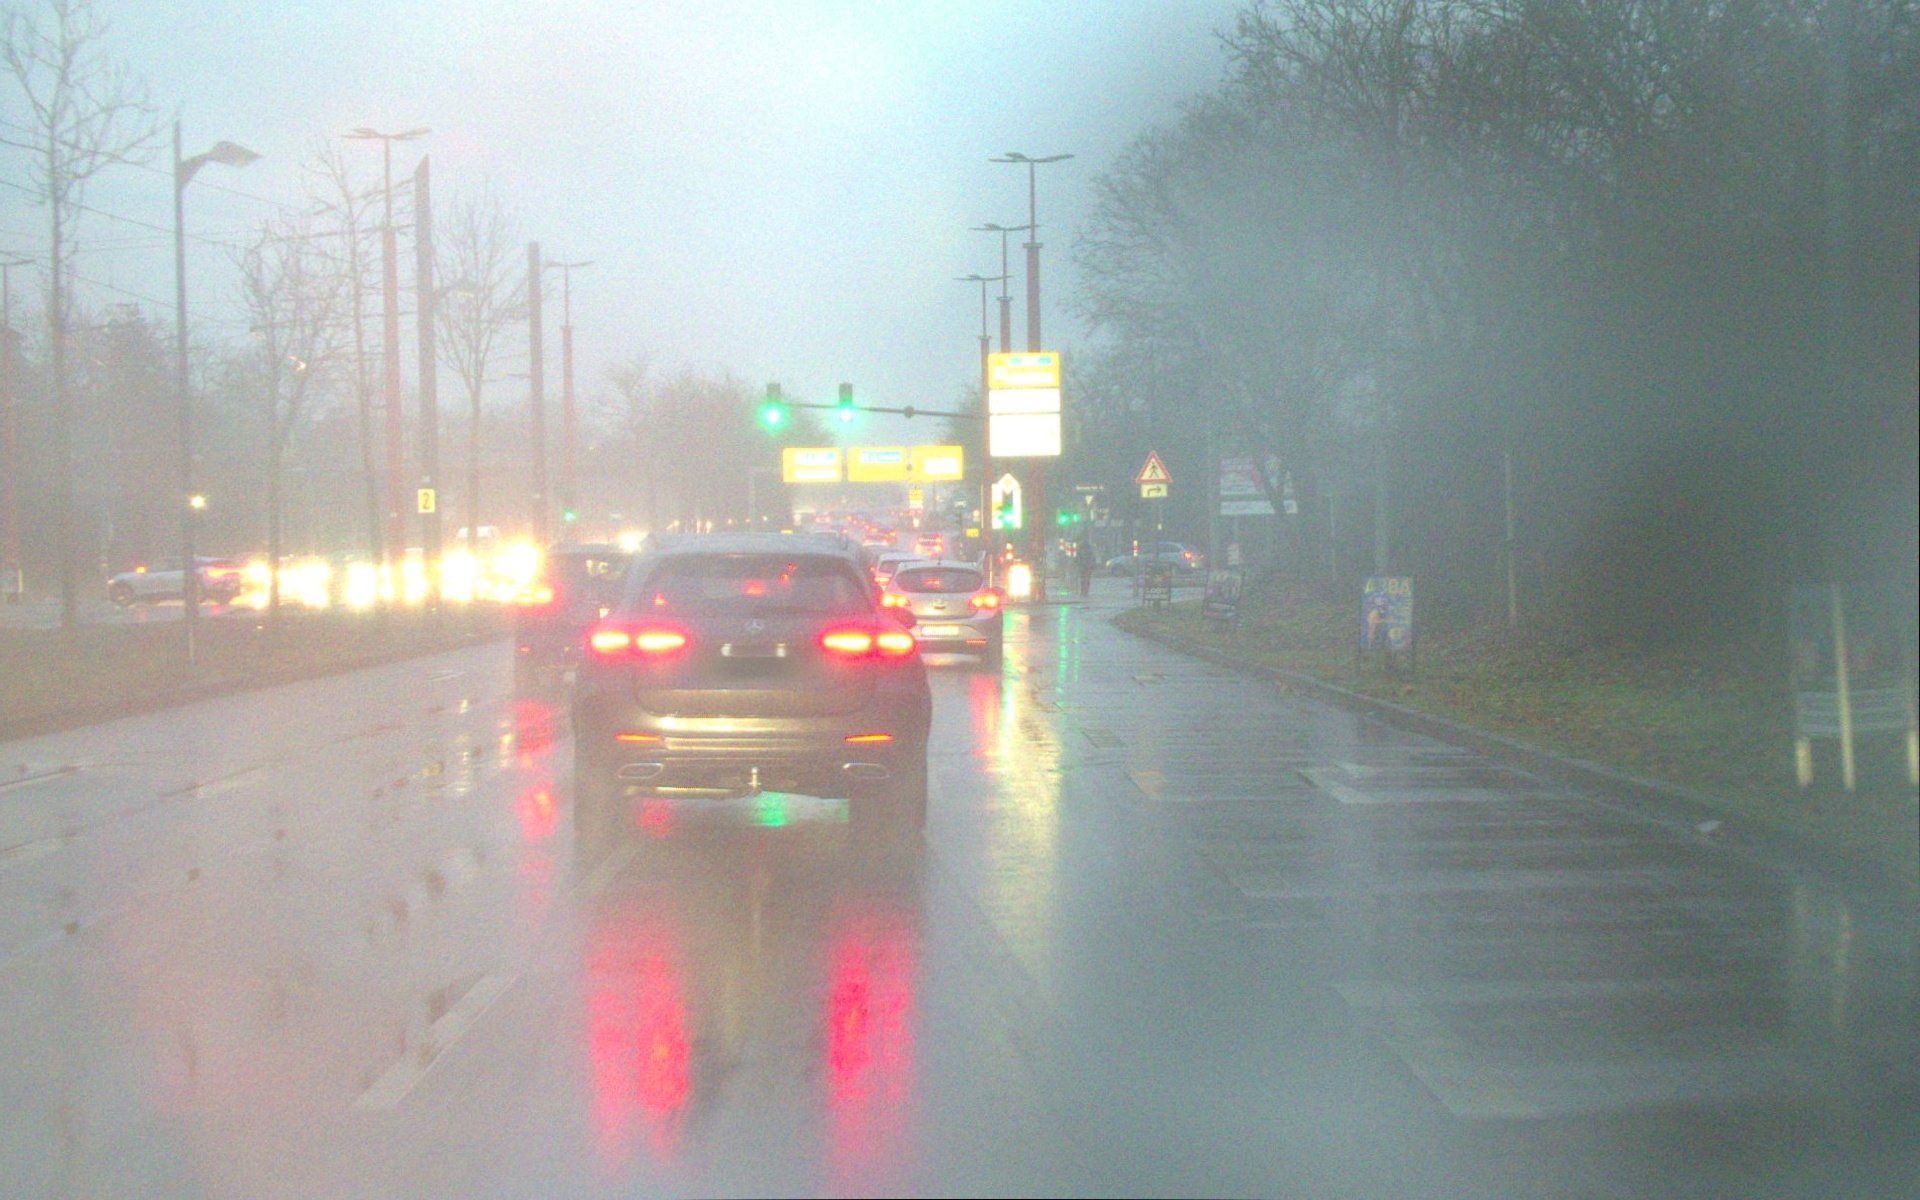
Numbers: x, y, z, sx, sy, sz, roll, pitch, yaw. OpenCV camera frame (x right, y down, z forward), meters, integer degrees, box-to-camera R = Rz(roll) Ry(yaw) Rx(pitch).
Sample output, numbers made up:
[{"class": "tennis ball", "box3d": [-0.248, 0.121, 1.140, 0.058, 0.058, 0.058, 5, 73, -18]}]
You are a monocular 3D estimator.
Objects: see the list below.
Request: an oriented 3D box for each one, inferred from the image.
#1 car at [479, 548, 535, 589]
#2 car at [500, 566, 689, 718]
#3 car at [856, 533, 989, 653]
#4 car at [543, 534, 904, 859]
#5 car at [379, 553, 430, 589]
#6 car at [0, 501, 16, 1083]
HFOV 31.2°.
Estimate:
[{"class": "car", "box3d": [-18.069, -1.259, 137.283, 1.856, 1.576, 4.080, 0, 1, -3]}, {"class": "car", "box3d": [-4.173, 0.440, 39.784, 1.822, 1.642, 4.000, 0, 1, -1]}, {"class": "car", "box3d": [-0.551, -0.122, 49.506, 1.822, 1.642, 4.467, 0, 1, -1]}, {"class": "car", "box3d": [-1.235, 0.461, 19.692, 1.822, 1.642, 4.467, 0, 1, -1]}, {"class": "car", "box3d": [-22.451, -1.175, 138.976, 1.652, 1.415, 3.327, 0, 1, -2]}, {"class": "car", "box3d": [-3.535, 0.571, 7.777, 1.714, 1.642, 4.147, 0, 1, -1]}]
